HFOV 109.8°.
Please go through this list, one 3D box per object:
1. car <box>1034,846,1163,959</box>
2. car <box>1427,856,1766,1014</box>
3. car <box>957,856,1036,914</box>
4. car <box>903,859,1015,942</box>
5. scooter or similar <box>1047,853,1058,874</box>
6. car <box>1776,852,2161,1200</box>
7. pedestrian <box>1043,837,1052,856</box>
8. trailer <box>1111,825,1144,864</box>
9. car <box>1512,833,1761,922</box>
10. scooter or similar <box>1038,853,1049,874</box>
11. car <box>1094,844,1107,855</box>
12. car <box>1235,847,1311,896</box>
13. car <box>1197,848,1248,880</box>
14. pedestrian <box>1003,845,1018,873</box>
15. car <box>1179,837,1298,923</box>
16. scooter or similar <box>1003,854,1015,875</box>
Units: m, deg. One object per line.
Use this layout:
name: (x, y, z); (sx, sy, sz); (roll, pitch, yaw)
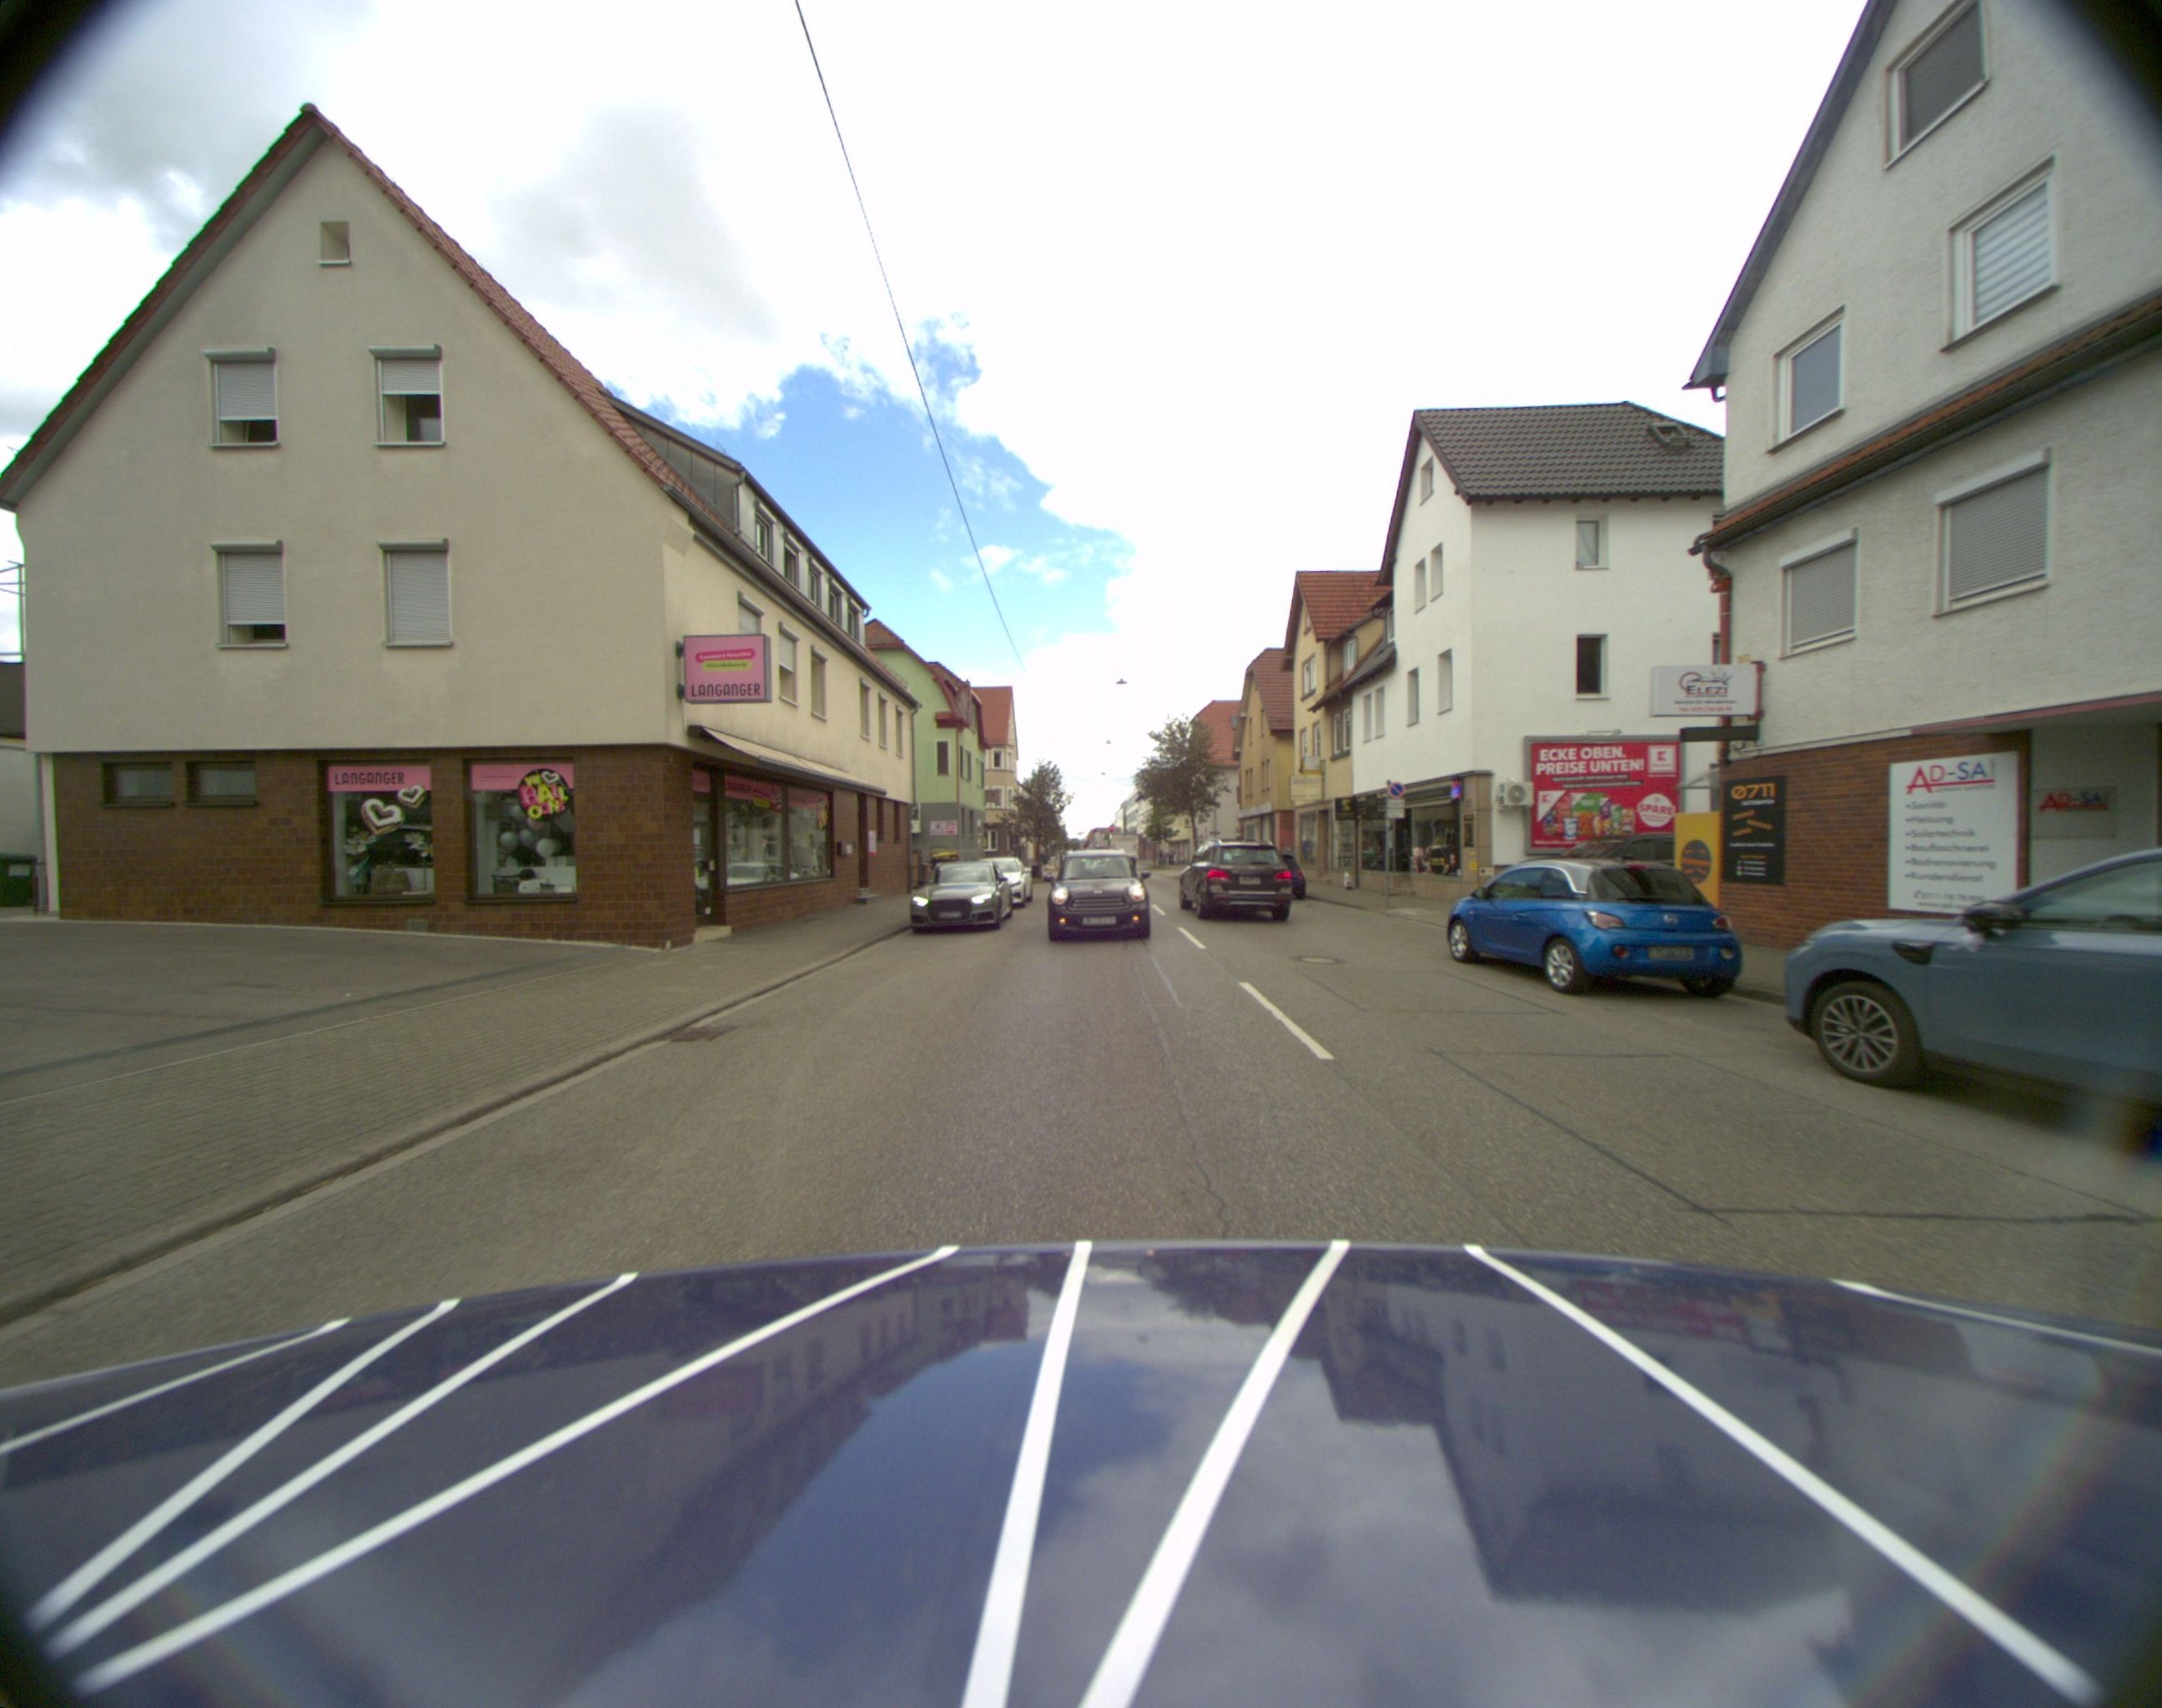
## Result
car: (0.285, 0.704, 13.603); (1.847, 1.571, 4.428); (-3, 1, 1)
car: (5.975, 0.812, 9.438); (1.686, 1.491, 3.774); (1, 1, 1)
car: (-2.404, 0.848, 22.725); (1.836, 1.437, 4.330); (-2, 1, 0)
car: (-2.503, 0.901, 16.607); (1.836, 1.437, 4.108); (-2, 1, -2)
scooter or similar: (-1.717, 0.577, 46.110); (0.503, 1.228, 1.942); (-2, 1, 0)
car: (5.920, 0.820, 3.349); (1.807, 1.590, 4.304); (1, 1, 2)
pedestrian: (-3.777, -0.829, 85.520); (0.826, 2.063, 1.011); (2, 2, 3)
trailer: (4.050, -0.890, 67.643); (2.509, 3.201, 7.132); (-1, 2, 0)
car: (11.964, 0.474, 16.575); (3.997, 1.692, 1.999); (-2, 1, -1)
scooter or similar: (-2.253, 0.551, 46.108); (0.503, 1.228, 1.942); (-2, 1, 0)
car: (3.100, -0.761, 120.106); (1.998, 1.786, 4.276); (0, 1, 1)
car: (6.319, 0.532, 25.376); (1.686, 1.485, 3.591); (1, 1, 1)
car: (6.698, 0.437, 36.216); (1.686, 1.416, 3.930); (1, 1, 0)
pedestrian: (-4.344, 0.306, 47.006); (0.752, 1.710, 0.900); (-2, 1, 1)
car: (3.453, 0.489, 17.479); (1.905, 1.727, 4.365); (1, 1, 1)
scooter or similar: (-4.351, 0.608, 46.089); (0.591, 1.226, 0.891); (-2, 1, 0)
